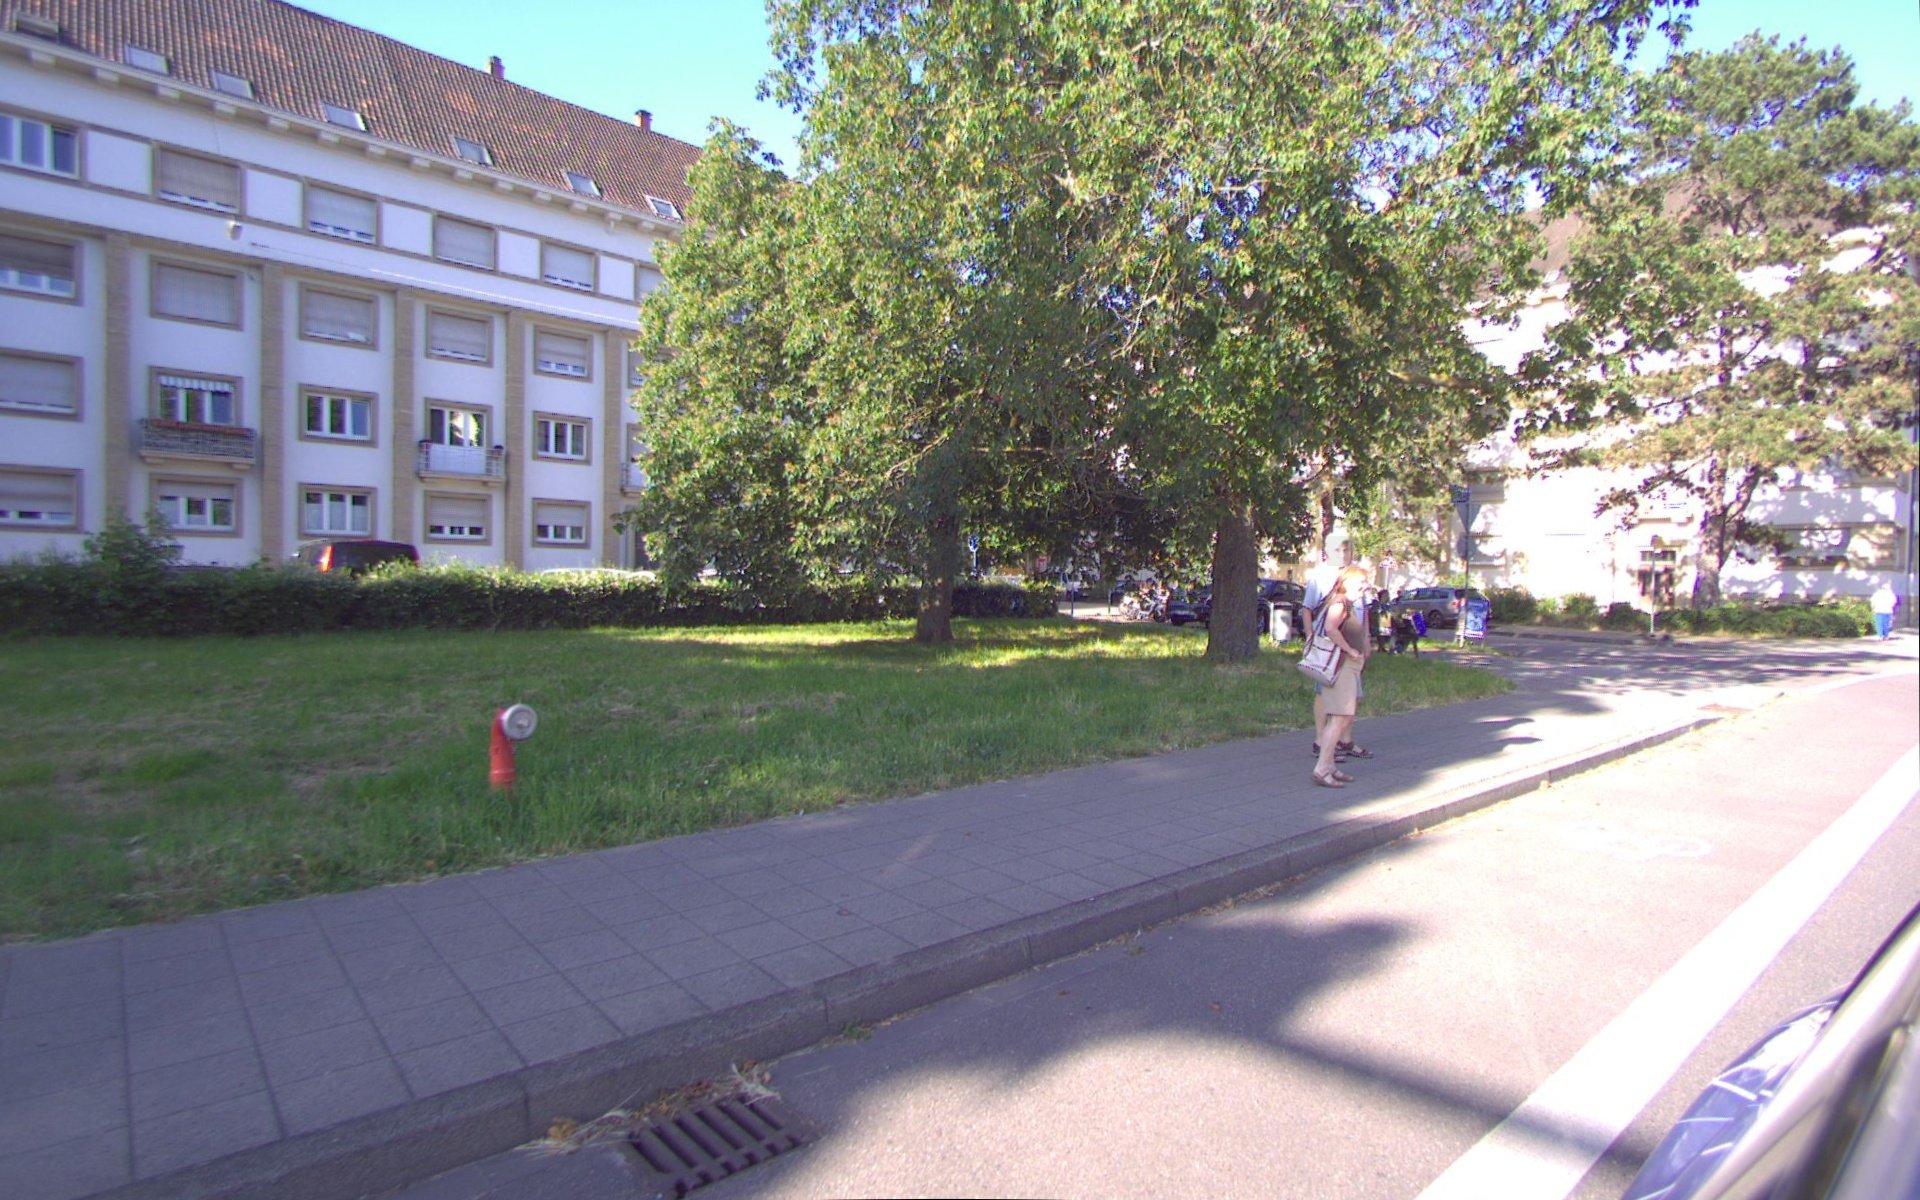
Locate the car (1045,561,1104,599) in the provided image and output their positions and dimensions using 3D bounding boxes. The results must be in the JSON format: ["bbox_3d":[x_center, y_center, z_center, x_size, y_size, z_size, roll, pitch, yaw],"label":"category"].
[{"bbox_3d":[7.995,-1.357,71.093,2.081,2.474,5.328,-1,-1,-18],"label":"car"}]

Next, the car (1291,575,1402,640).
[{"bbox_3d":[9.977,0.142,25.973,1.632,1.512,3.757,3,2,37],"label":"car"}]

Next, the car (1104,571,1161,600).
[{"bbox_3d":[10.485,-0.847,61.749,1.762,1.631,4.007,-1,-1,-18],"label":"car"}]

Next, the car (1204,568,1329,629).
[{"bbox_3d":[8.684,-0.067,28.554,3.738,1.591,1.456,0,2,-38],"label":"car"}]

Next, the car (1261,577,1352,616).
[{"bbox_3d":[15.018,-0.192,44.116,1.732,1.487,3.922,1,2,-17],"label":"car"}]

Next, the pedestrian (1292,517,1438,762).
[{"bbox_3d":[3.164,0.276,7.931,0.681,1.811,0.706,2,3,-35],"label":"pedestrian"}]

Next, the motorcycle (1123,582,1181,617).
[{"bbox_3d":[6.541,-0.022,34.499,1.772,1.085,0.705,5,2,34],"label":"motorcycle"}]

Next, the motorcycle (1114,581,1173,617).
[{"bbox_3d":[6.117,-0.048,33.828,1.772,1.085,0.705,5,2,34],"label":"motorcycle"}]

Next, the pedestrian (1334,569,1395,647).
[{"bbox_3d":[7.464,0.146,18.693,0.739,1.391,0.688,-1,-1,-14],"label":"pedestrian"}]

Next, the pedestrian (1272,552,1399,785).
[{"bbox_3d":[2.642,0.444,7.134,0.615,1.547,0.531,0,3,-35],"label":"pedestrian"}]

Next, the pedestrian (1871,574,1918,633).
[{"bbox_3d":[28.493,0.096,30.857,0.711,1.743,0.883,1,1,-35],"label":"pedestrian"}]

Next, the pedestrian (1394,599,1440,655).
[{"bbox_3d":[7.972,0.467,17.650,0.610,0.946,0.405,2,-2,-14],"label":"pedestrian"}]

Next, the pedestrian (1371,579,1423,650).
[{"bbox_3d":[7.839,0.255,18.167,0.745,1.242,0.405,-1,-1,-14],"label":"pedestrian"}]

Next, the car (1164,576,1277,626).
[{"bbox_3d":[8.322,0.007,32.105,1.636,1.458,4.175,3,2,43],"label":"car"}]

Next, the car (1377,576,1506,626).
[{"bbox_3d":[17.253,-0.022,36.490,1.733,1.519,4.316,-3,3,-17],"label":"car"}]

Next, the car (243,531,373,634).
[{"bbox_3d":[-12.966,-0.285,20.035,1.736,1.817,3.995,0,-1,-39],"label":"car"}]
